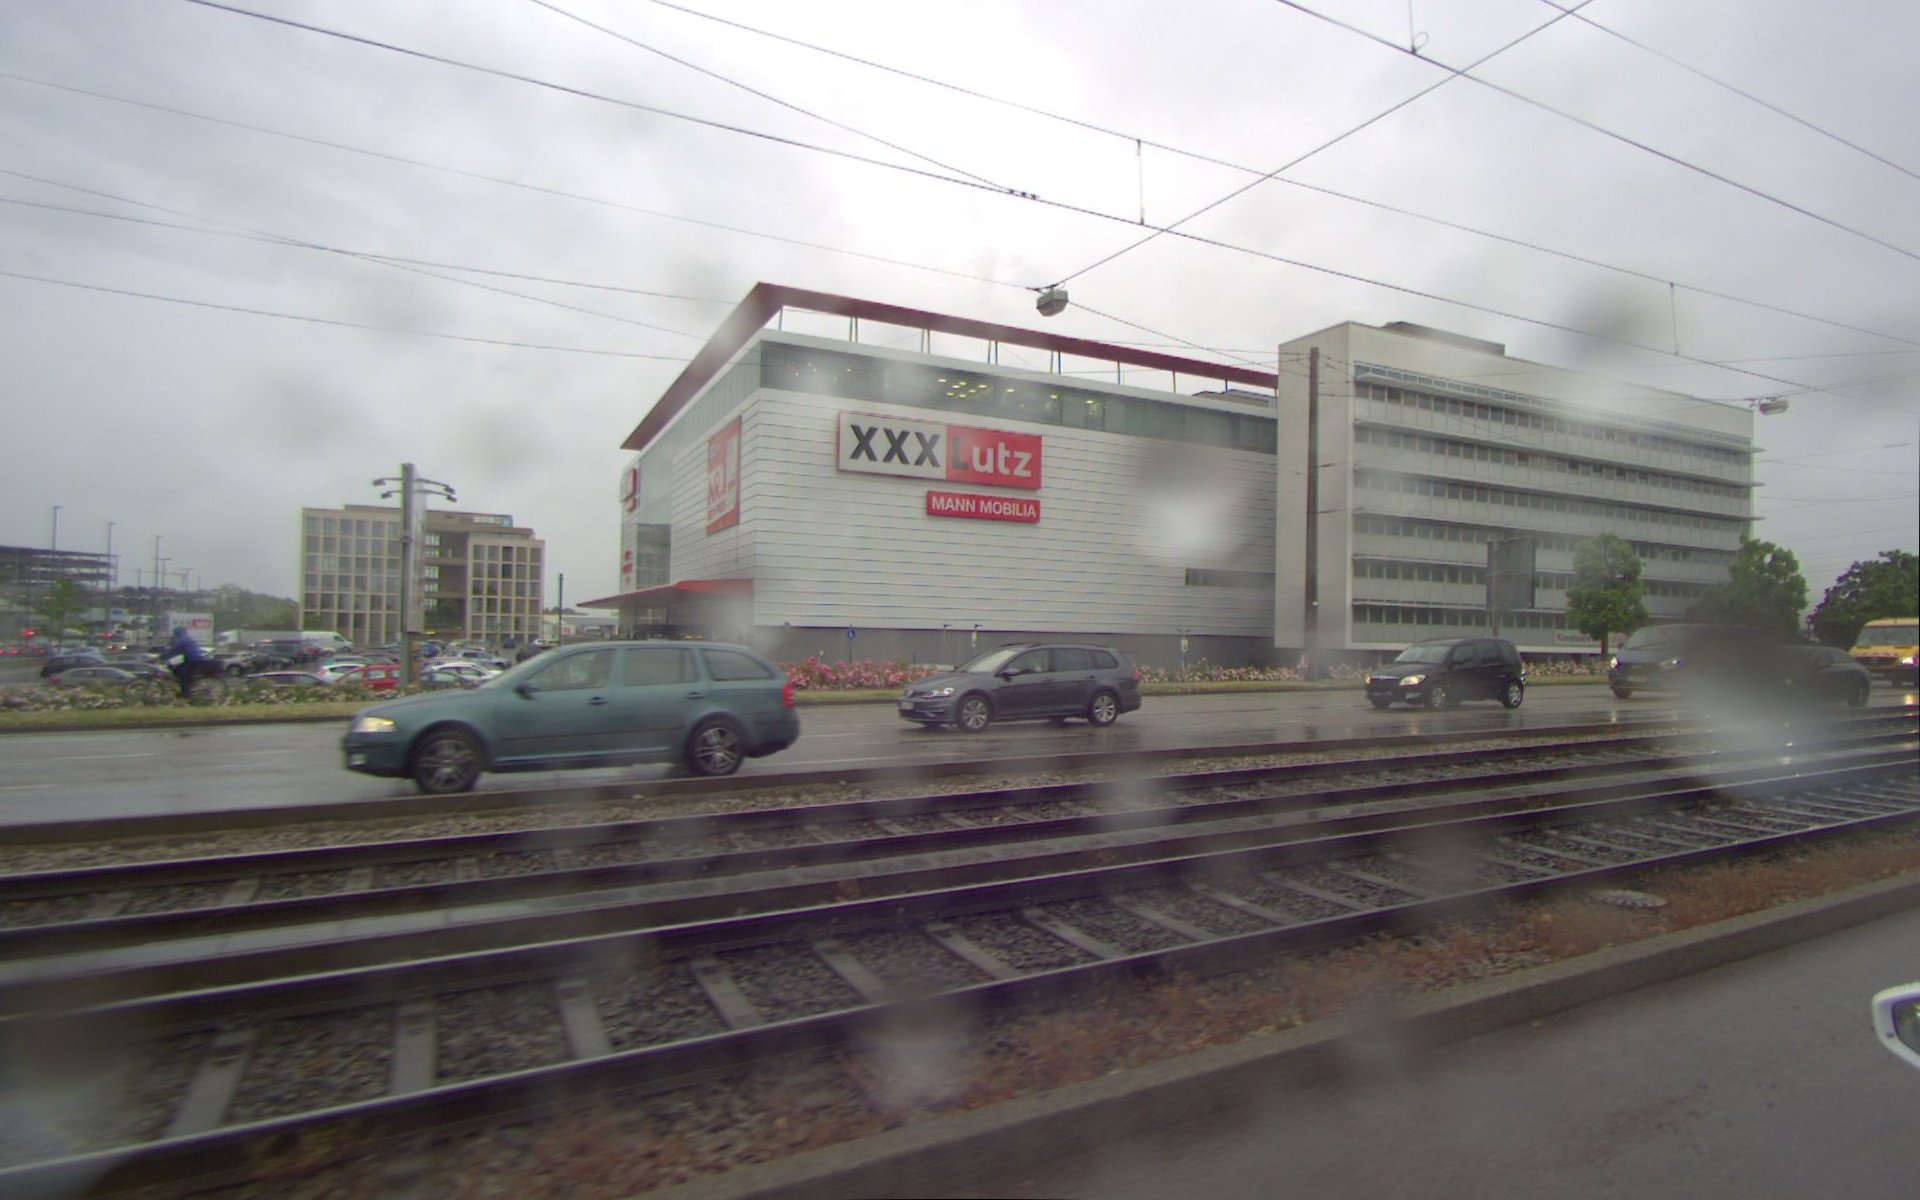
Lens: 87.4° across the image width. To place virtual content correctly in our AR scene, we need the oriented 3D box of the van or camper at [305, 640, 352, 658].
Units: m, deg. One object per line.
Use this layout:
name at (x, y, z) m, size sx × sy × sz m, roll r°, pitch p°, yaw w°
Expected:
van or camper at (-79.426, 6.174, 126.416) m, size 4.940 × 2.141 × 1.770 m, roll 2°, pitch 0°, yaw -34°

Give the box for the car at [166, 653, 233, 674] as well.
car at (-60.312, 5.035, 79.722) m, size 3.957 × 1.582 × 1.751 m, roll 2°, pitch 0°, yaw -29°

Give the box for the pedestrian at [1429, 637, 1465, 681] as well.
pedestrian at (20.466, 2.486, 42.213) m, size 1.036 × 1.786 × 0.820 m, roll 2°, pitch 1°, yaw -26°

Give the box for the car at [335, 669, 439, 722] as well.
car at (-25.646, 4.224, 45.016) m, size 3.954 × 2.040 × 1.983 m, roll 1°, pitch 1°, yaw -31°

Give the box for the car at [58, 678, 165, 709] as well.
car at (-40.566, 4.460, 48.104) m, size 3.683 × 1.281 × 1.539 m, roll 2°, pitch 0°, yaw -32°

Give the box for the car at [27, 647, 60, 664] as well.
car at (-116.569, 7.032, 127.778) m, size 1.974 × 2.040 × 3.973 m, roll 2°, pitch 0°, yaw -26°

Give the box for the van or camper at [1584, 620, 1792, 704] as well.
van or camper at (20.078, 1.641, 27.688) m, size 5.611 × 2.040 × 2.297 m, roll 1°, pitch 0°, yaw -27°

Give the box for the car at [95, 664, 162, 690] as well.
car at (-54.266, 5.038, 65.589) m, size 3.133 × 1.544 × 1.559 m, roll 2°, pitch 0°, yaw -32°

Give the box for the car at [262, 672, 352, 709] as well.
car at (-25.629, 3.531, 39.511) m, size 2.905 × 1.270 × 1.346 m, roll 2°, pitch 0°, yaw -32°

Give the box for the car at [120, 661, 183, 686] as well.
car at (-55.152, 4.999, 68.604) m, size 3.133 × 1.544 × 1.559 m, roll 2°, pitch 0°, yaw -32°

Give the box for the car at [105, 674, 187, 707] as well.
car at (-42.644, 4.725, 52.688) m, size 3.133 × 1.544 × 1.559 m, roll 2°, pitch 0°, yaw -32°

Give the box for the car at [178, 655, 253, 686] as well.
car at (-50.251, 4.767, 67.877) m, size 3.863 × 1.930 × 1.807 m, roll 2°, pitch 0°, yaw -33°

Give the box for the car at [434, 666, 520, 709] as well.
car at (-25.724, 4.630, 53.537) m, size 3.954 × 2.040 × 1.983 m, roll 1°, pitch 1°, yaw -31°

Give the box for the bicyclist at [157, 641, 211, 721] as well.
bicyclist at (-16.399, 1.697, 21.252) m, size 0.782 × 1.611 × 0.668 m, roll 1°, pitch 1°, yaw -28°

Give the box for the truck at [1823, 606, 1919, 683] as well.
truck at (33.078, 1.519, 35.074) m, size 5.985 × 2.494 × 2.220 m, roll 1°, pitch 0°, yaw -25°

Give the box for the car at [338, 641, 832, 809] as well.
car at (-3.901, 1.216, 10.854) m, size 4.614 × 1.475 × 1.986 m, roll 2°, pitch -4°, yaw -28°

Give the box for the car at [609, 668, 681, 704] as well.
car at (-19.815, 5.387, 63.192) m, size 3.954 × 2.040 × 1.983 m, roll 2°, pitch 0°, yaw -31°

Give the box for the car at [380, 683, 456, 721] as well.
car at (-22.643, 4.236, 41.981) m, size 2.740 × 1.423 × 1.340 m, roll 2°, pitch 0°, yaw -32°

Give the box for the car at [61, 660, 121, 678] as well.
car at (-76.181, 6.037, 88.105) m, size 3.519 × 1.426 × 1.775 m, roll 2°, pitch 0°, yaw -25°

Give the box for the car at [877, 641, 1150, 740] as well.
car at (0.985, 1.525, 17.727) m, size 4.502 × 1.536 × 1.954 m, roll 2°, pitch -4°, yaw -31°

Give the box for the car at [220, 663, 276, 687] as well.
car at (-51.155, 5.391, 72.208) m, size 3.133 × 1.544 × 1.559 m, roll 2°, pitch 0°, yaw -32°

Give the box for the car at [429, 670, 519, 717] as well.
car at (-24.526, 4.688, 50.716) m, size 3.954 × 2.040 × 1.983 m, roll 1°, pitch 1°, yaw -31°

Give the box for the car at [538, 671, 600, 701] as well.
car at (-28.981, 6.350, 74.442) m, size 3.955 × 2.040 × 1.983 m, roll 2°, pitch 0°, yaw -32°

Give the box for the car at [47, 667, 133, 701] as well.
car at (-54.379, 5.249, 62.883) m, size 3.792 × 1.930 × 1.807 m, roll 2°, pitch 0°, yaw -33°

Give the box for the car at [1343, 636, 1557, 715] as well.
car at (11.185, 1.672, 22.891) m, size 4.844 × 1.639 × 1.852 m, roll 2°, pitch -3°, yaw -27°

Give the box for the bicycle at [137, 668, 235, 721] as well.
bicycle at (-16.367, 1.986, 21.278) m, size 1.537 × 1.029 × 0.665 m, roll 1°, pitch 1°, yaw -29°

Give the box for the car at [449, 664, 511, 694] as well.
car at (-35.265, 5.795, 73.831) m, size 3.955 × 2.040 × 1.983 m, roll 2°, pitch 0°, yaw -32°

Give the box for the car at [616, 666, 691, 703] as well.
car at (-18.611, 5.082, 61.006) m, size 3.954 × 2.040 × 1.983 m, roll 2°, pitch 0°, yaw -31°

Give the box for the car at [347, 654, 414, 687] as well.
car at (-40.358, 4.874, 70.017) m, size 3.954 × 2.040 × 1.983 m, roll 1°, pitch 1°, yaw -31°

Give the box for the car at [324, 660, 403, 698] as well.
car at (-35.573, 4.698, 60.010) m, size 3.954 × 2.040 × 1.983 m, roll 1°, pitch 1°, yaw -31°

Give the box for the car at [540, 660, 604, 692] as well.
car at (-27.757, 5.401, 71.832) m, size 3.955 × 2.040 × 1.983 m, roll 2°, pitch 0°, yaw -32°

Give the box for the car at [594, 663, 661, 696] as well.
car at (-22.529, 5.324, 68.025) m, size 3.954 × 2.040 × 1.983 m, roll 2°, pitch 0°, yaw -31°

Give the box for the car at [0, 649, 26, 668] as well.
car at (-114.491, 7.024, 120.914) m, size 1.974 × 2.040 × 3.973 m, roll 2°, pitch 0°, yaw -26°

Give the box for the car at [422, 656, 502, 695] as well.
car at (-28.480, 4.275, 57.424) m, size 3.954 × 2.040 × 1.983 m, roll 2°, pitch 0°, yaw -31°

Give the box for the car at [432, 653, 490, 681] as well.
car at (-39.193, 5.212, 78.908) m, size 3.955 × 2.040 × 1.983 m, roll 2°, pitch 0°, yaw -32°

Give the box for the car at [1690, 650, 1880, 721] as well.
car at (19.335, 1.938, 23.517) m, size 4.632 × 1.513 × 1.851 m, roll 2°, pitch -3°, yaw -29°

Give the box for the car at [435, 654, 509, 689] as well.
car at (-30.425, 4.441, 62.648) m, size 3.954 × 2.040 × 1.983 m, roll 2°, pitch 0°, yaw -31°

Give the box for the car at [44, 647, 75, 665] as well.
car at (-119.401, 7.414, 133.176) m, size 1.974 × 2.040 × 3.973 m, roll 2°, pitch 0°, yaw -26°

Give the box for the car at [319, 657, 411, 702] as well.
car at (-30.260, 3.996, 51.197) m, size 3.954 × 2.040 × 1.983 m, roll 1°, pitch 1°, yaw -31°

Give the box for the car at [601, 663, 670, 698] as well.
car at (-21.230, 5.235, 65.765) m, size 3.954 × 2.040 × 1.983 m, roll 2°, pitch 0°, yaw -31°
